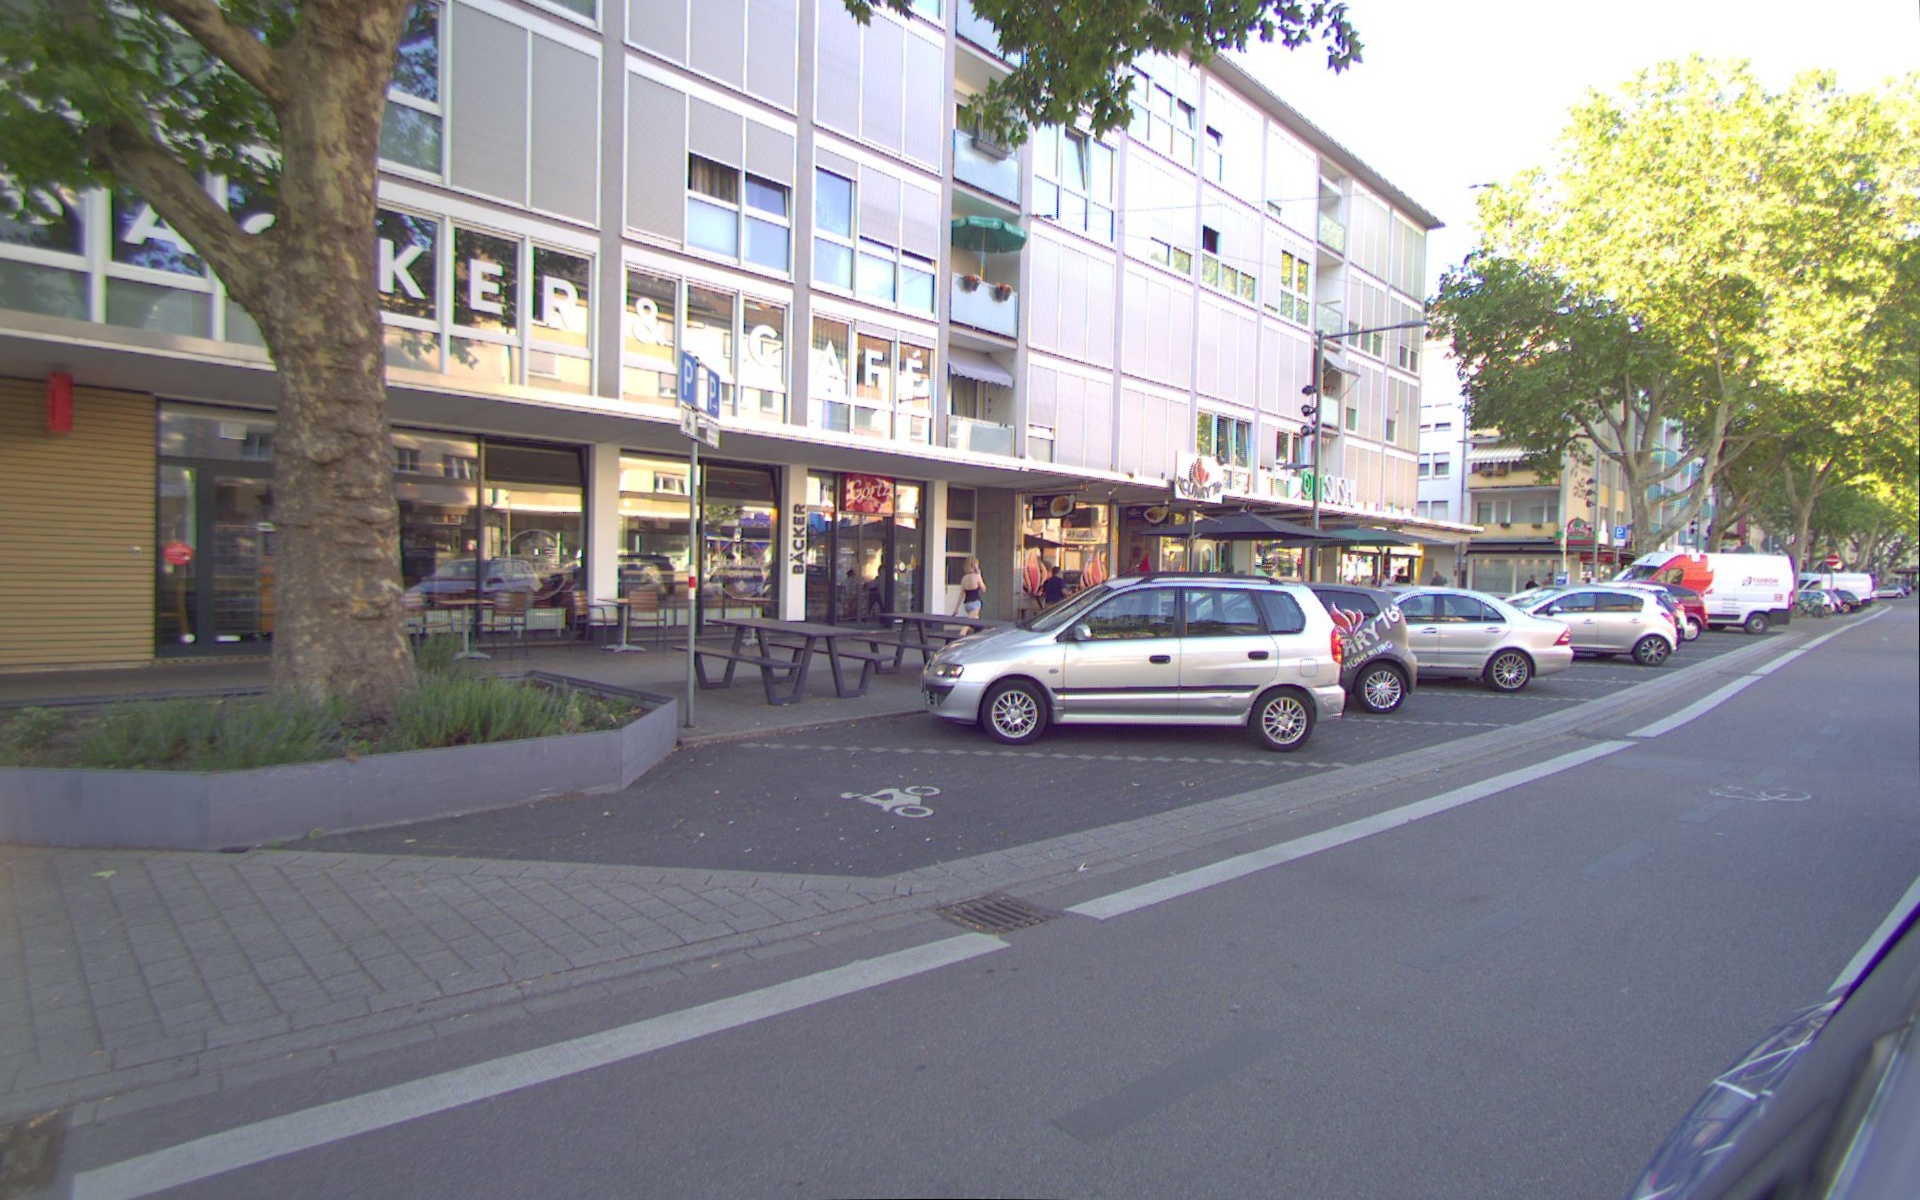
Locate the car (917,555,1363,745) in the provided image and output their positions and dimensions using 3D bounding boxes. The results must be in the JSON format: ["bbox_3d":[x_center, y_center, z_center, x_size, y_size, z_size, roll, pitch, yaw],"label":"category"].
[{"bbox_3d":[1.572,0.419,9.814,3.906,1.560,1.679,2,3,-3],"label":"car"}]

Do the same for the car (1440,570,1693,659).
[{"bbox_3d":[11.764,0.240,19.826,3.871,1.446,1.559,3,3,4],"label":"car"}]

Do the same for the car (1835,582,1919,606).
[{"bbox_3d":[56.299,-0.392,61.894,3.864,1.350,1.782,1,2,3],"label":"car"}]

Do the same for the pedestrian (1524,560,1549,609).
[{"bbox_3d":[23.755,-0.651,41.702,0.746,2.000,0.566,2,2,45],"label":"pedestrian"}]

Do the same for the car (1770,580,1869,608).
[{"bbox_3d":[48.004,-0.353,56.592,3.864,1.422,1.782,1,2,3],"label":"car"}]

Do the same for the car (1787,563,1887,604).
[{"bbox_3d":[56.467,-1.082,65.247,4.512,2.499,1.977,1,2,3],"label":"car"}]

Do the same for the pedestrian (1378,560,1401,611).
[{"bbox_3d":[14.316,-0.489,33.736,0.536,1.660,0.470,2,2,45],"label":"pedestrian"}]

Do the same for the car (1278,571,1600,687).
[{"bbox_3d":[6.869,0.381,14.800,3.867,1.418,1.598,2,3,1],"label":"car"}]

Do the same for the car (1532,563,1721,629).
[{"bbox_3d":[18.087,-0.151,27.659,3.889,1.445,1.669,4,5,18],"label":"car"}]

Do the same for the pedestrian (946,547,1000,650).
[{"bbox_3d":[0.208,-0.039,16.014,0.559,1.596,0.632,2,2,44],"label":"pedestrian"}]

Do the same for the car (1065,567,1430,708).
[{"bbox_3d":[3.363,0.406,12.326,3.864,1.446,1.679,2,3,-3],"label":"car"}]

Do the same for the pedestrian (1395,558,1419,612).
[{"bbox_3d":[14.720,-0.495,33.332,0.544,1.741,0.450,2,2,45],"label":"pedestrian"}]

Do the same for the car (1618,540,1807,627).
[{"bbox_3d":[23.759,-0.534,32.081,4.514,2.525,1.675,2,1,5],"label":"car"}]

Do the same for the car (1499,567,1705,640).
[{"bbox_3d":[15.832,0.045,25.187,3.888,1.445,1.669,4,5,17],"label":"car"}]

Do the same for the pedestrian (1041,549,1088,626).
[{"bbox_3d":[2.210,-0.275,21.414,0.757,1.602,0.583,0,2,-39],"label":"pedestrian"}]

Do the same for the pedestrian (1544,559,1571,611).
[{"bbox_3d":[24.253,-0.616,41.060,0.746,2.038,0.752,2,2,45],"label":"pedestrian"}]

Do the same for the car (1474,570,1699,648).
[{"bbox_3d":[13.929,0.150,22.759,3.886,1.446,1.670,3,3,16],"label":"car"}]

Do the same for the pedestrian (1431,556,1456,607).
[{"bbox_3d":[19.687,-0.755,41.204,0.746,2.038,0.550,2,2,45],"label":"pedestrian"}]
